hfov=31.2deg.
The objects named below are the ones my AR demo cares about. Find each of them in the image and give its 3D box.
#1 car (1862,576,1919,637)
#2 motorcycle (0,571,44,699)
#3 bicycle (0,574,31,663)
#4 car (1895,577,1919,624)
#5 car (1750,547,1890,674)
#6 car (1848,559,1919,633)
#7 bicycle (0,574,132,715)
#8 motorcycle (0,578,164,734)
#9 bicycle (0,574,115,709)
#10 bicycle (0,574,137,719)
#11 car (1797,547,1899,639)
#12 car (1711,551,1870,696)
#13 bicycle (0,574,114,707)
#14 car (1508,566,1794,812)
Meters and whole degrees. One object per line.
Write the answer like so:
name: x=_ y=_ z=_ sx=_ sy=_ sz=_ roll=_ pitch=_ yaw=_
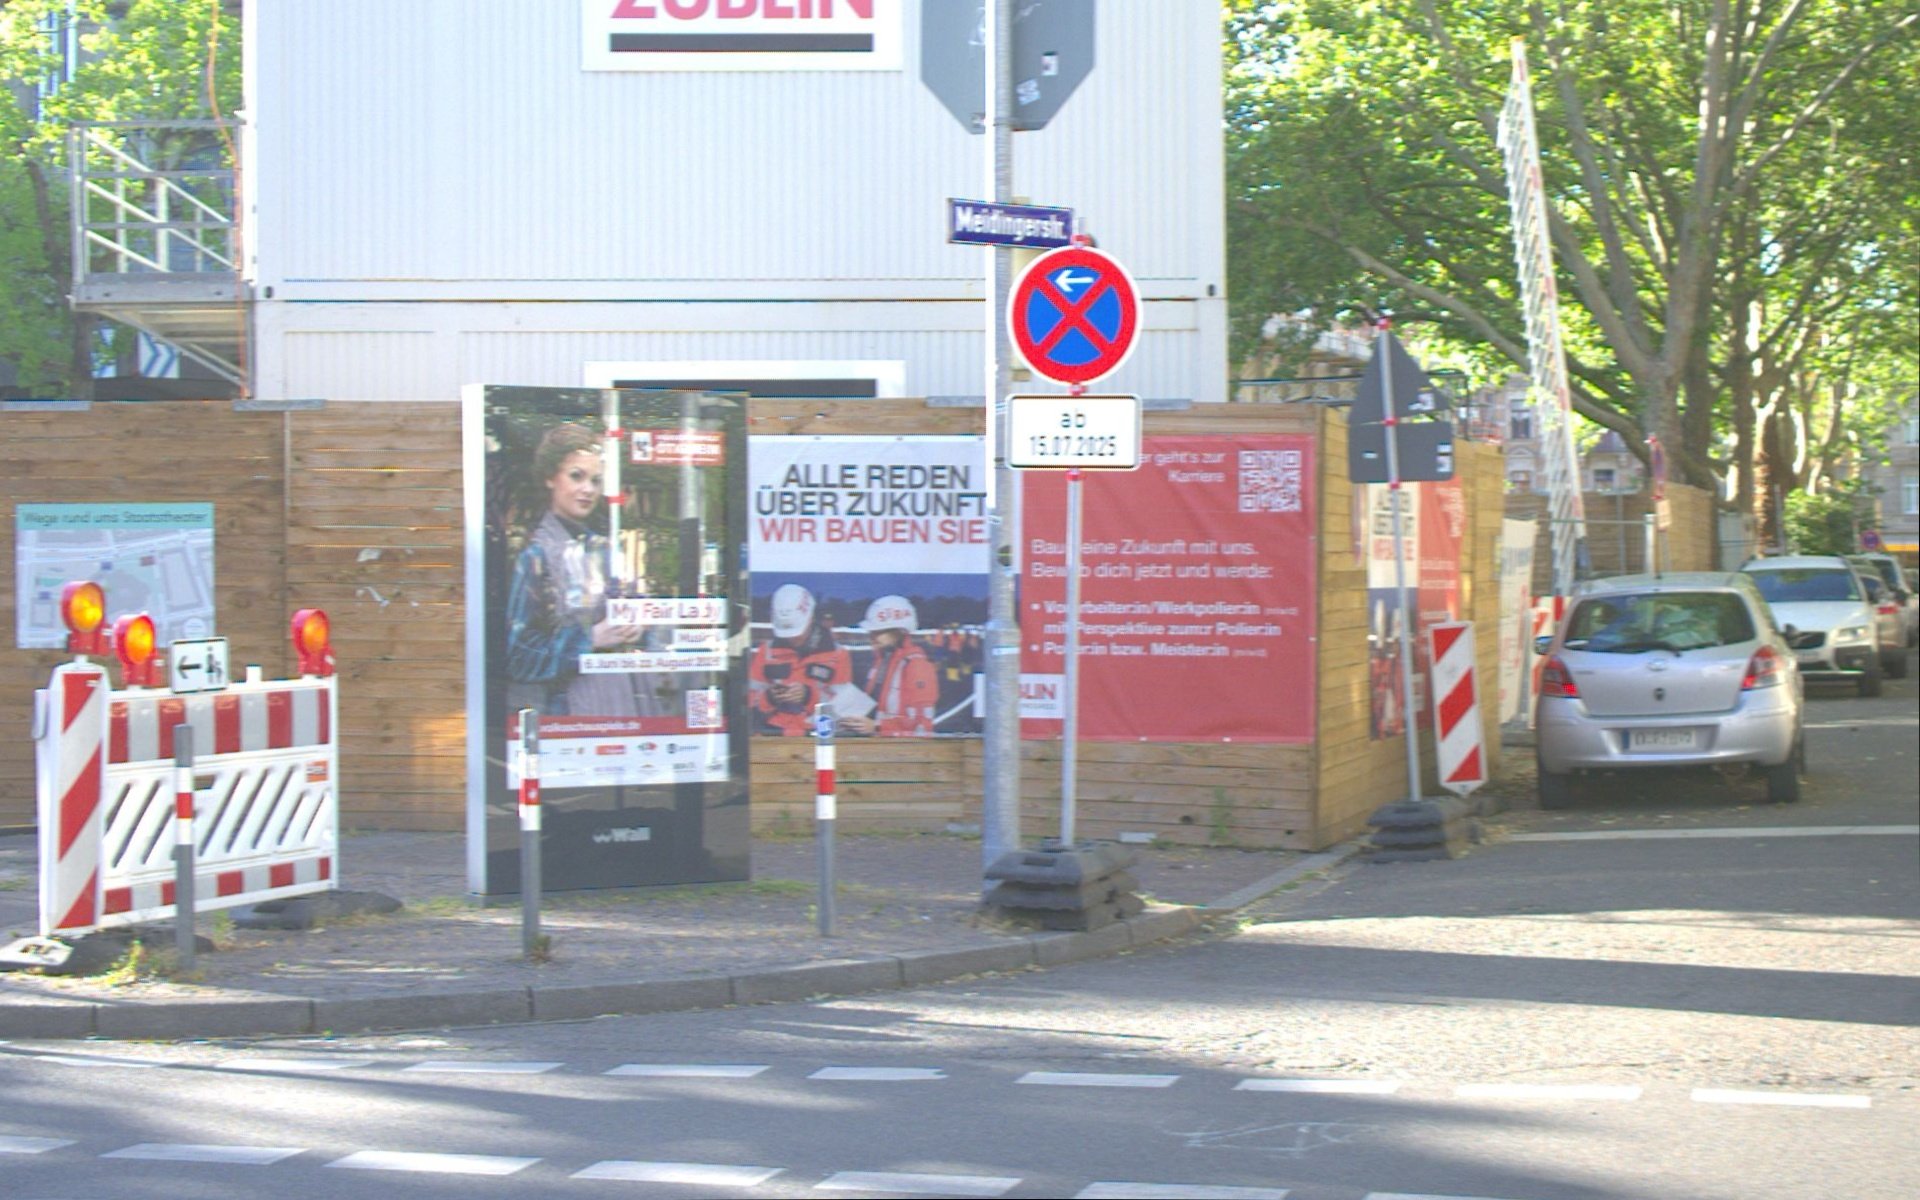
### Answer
car: x=24.603 y=0.150 z=90.438 sx=1.666 sy=1.557 sz=4.216 roll=0 pitch=1 yaw=15
motorcycle: x=-10.213 y=0.353 z=33.940 sx=2.204 sy=1.253 sz=0.543 roll=-1 pitch=1 yaw=-21
bicycle: x=-13.791 y=0.235 z=45.488 sx=3.083 sy=1.143 sz=0.820 roll=0 pitch=1 yaw=26
car: x=33.155 y=0.005 z=118.677 sx=1.666 sy=1.557 sz=4.216 roll=0 pitch=1 yaw=15
car: x=11.146 y=0.101 z=44.458 sx=1.666 sy=1.557 sz=4.516 roll=0 pitch=1 yaw=15
car: x=20.101 y=-0.112 z=74.417 sx=1.666 sy=1.557 sz=4.277 roll=0 pitch=1 yaw=15
bicycle: x=-8.640 y=0.404 z=31.354 sx=2.043 sy=1.253 sz=0.543 roll=-1 pitch=1 yaw=-21
motorcycle: x=-7.727 y=0.458 z=28.345 sx=2.204 sy=1.253 sz=0.543 roll=-1 pitch=1 yaw=-21
bicycle: x=-9.066 y=0.394 z=32.472 sx=2.043 sy=1.253 sz=0.543 roll=-1 pitch=1 yaw=-21
bicycle: x=-8.338 y=0.411 z=30.333 sx=2.043 sy=1.253 sz=0.471 roll=-1 pitch=1 yaw=-21
car: x=15.638 y=-0.146 z=60.511 sx=1.666 sy=1.557 sz=4.613 roll=0 pitch=1 yaw=15
car: x=9.501 y=0.232 z=39.179 sx=1.666 sy=1.557 sz=3.997 roll=0 pitch=1 yaw=15
bicycle: x=-9.219 y=0.390 z=33.050 sx=2.043 sy=1.253 sz=0.543 roll=-1 pitch=1 yaw=-21
car: x=4.830 y=0.551 z=23.678 sx=1.644 sy=1.489 sz=3.997 roll=-2 pitch=0 yaw=15
